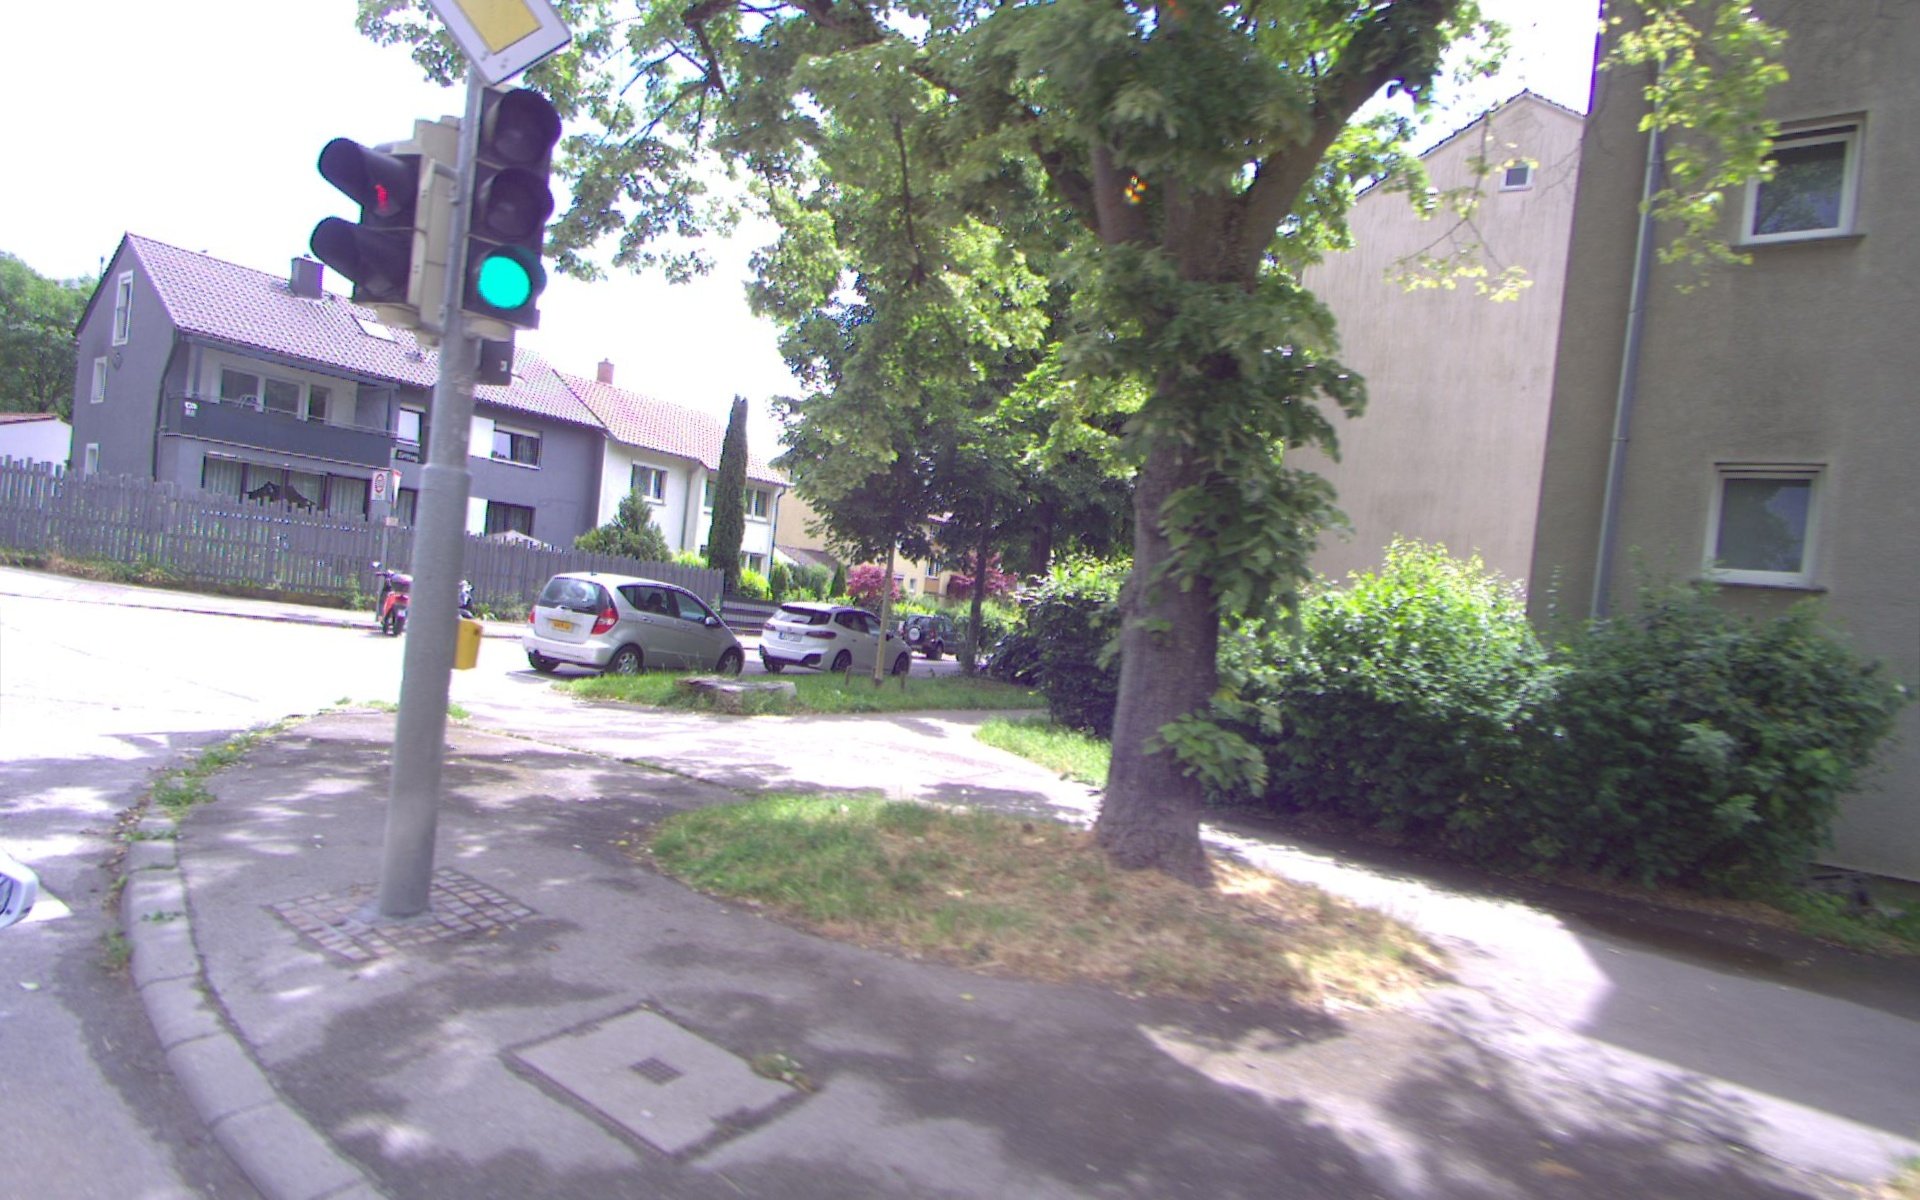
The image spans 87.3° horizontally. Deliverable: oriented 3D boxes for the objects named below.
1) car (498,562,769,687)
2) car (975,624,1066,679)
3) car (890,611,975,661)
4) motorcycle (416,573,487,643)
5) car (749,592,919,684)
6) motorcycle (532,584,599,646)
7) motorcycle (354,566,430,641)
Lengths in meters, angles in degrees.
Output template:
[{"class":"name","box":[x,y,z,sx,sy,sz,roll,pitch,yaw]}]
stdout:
[{"class":"car","box":[-5.111,0.463,16.364,1.904,1.572,4.000,7,-1,23]},{"class":"car","box":[2.042,1.708,32.889,1.660,1.525,3.959,7,-1,22]},{"class":"car","box":[-1.035,1.443,39.721,1.710,1.659,3.958,7,-1,23]},{"class":"motorcycle","box":[-9.905,0.140,19.572,0.656,1.162,1.970,8,-1,-41]},{"class":"car","box":[-2.609,0.869,21.868,1.750,1.582,4.017,8,0,22]},{"class":"motorcycle","box":[-8.724,0.323,22.199,0.656,1.162,1.970,8,-1,-41]},{"class":"motorcycle","box":[-10.451,0.047,18.468,0.656,1.162,2.397,8,-1,-41]}]
